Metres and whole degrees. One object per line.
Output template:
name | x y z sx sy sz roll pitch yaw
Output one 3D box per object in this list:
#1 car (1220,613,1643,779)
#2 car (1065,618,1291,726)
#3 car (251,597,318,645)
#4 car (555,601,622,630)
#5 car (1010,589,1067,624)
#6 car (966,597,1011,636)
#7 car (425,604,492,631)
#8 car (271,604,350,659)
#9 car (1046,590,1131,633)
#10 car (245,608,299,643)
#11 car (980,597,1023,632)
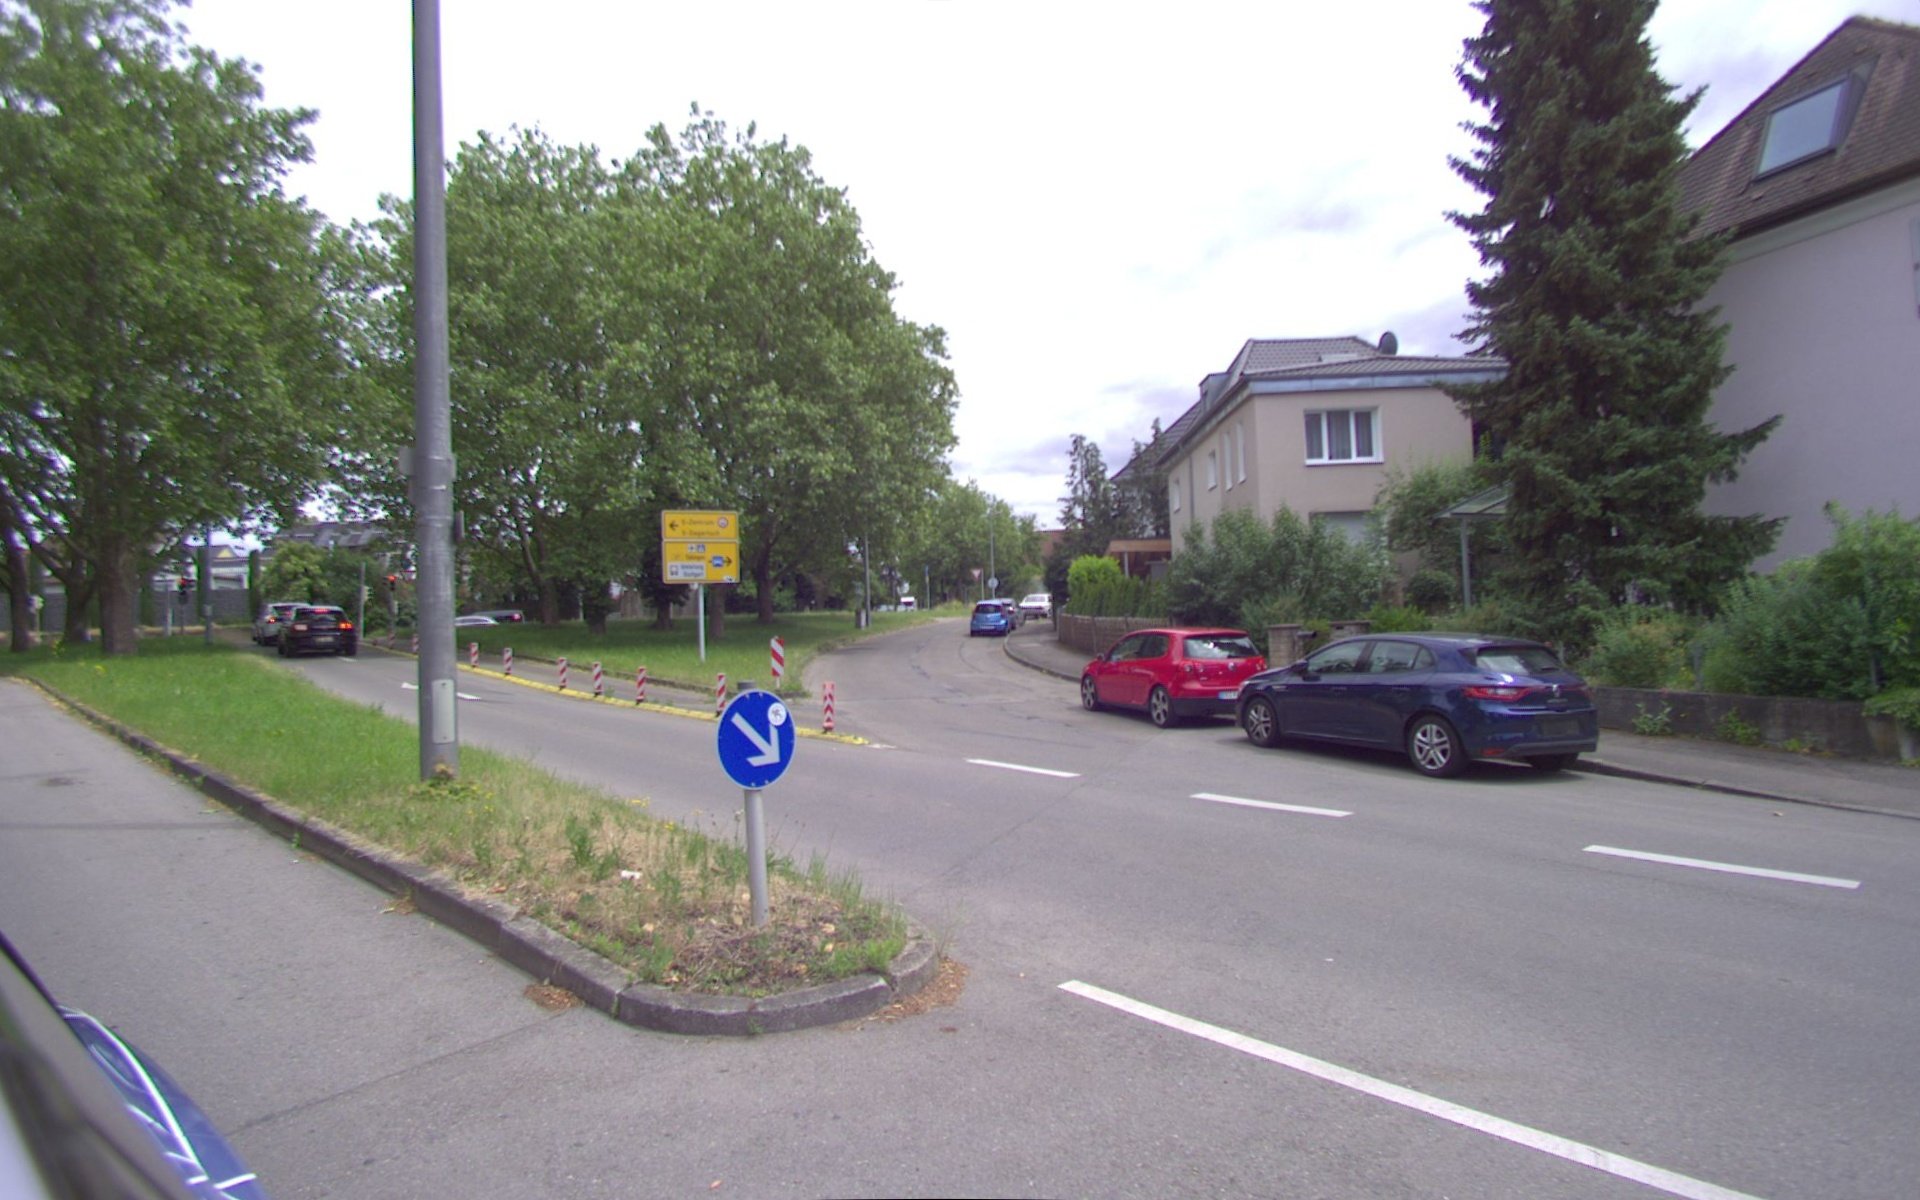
car | 5.016 0.924 11.534 1.703 1.485 4.329 -1 -1 -22
car | 3.366 1.065 16.567 1.703 1.485 4.291 -1 -1 -17
car | -27.520 0.895 41.159 1.828 1.671 4.915 -1 -3 -39
car | -21.799 0.939 59.482 3.584 1.536 1.655 2 -4 -18
car | 4.818 0.375 61.527 2.200 1.804 4.852 -4 1 20
car | 1.352 0.729 46.596 1.761 1.566 3.773 -4 1 6
car | -31.790 1.127 64.216 3.584 1.541 1.655 -1 -3 -18
car | -21.551 0.977 33.493 1.734 1.603 4.622 -1 1 -39
car | 5.313 0.514 42.008 3.340 1.559 1.871 -3 -3 8
car | -32.323 1.178 47.510 1.734 1.529 4.395 -1 0 -38
car | 2.147 0.709 51.320 1.643 1.525 3.987 -4 1 9
